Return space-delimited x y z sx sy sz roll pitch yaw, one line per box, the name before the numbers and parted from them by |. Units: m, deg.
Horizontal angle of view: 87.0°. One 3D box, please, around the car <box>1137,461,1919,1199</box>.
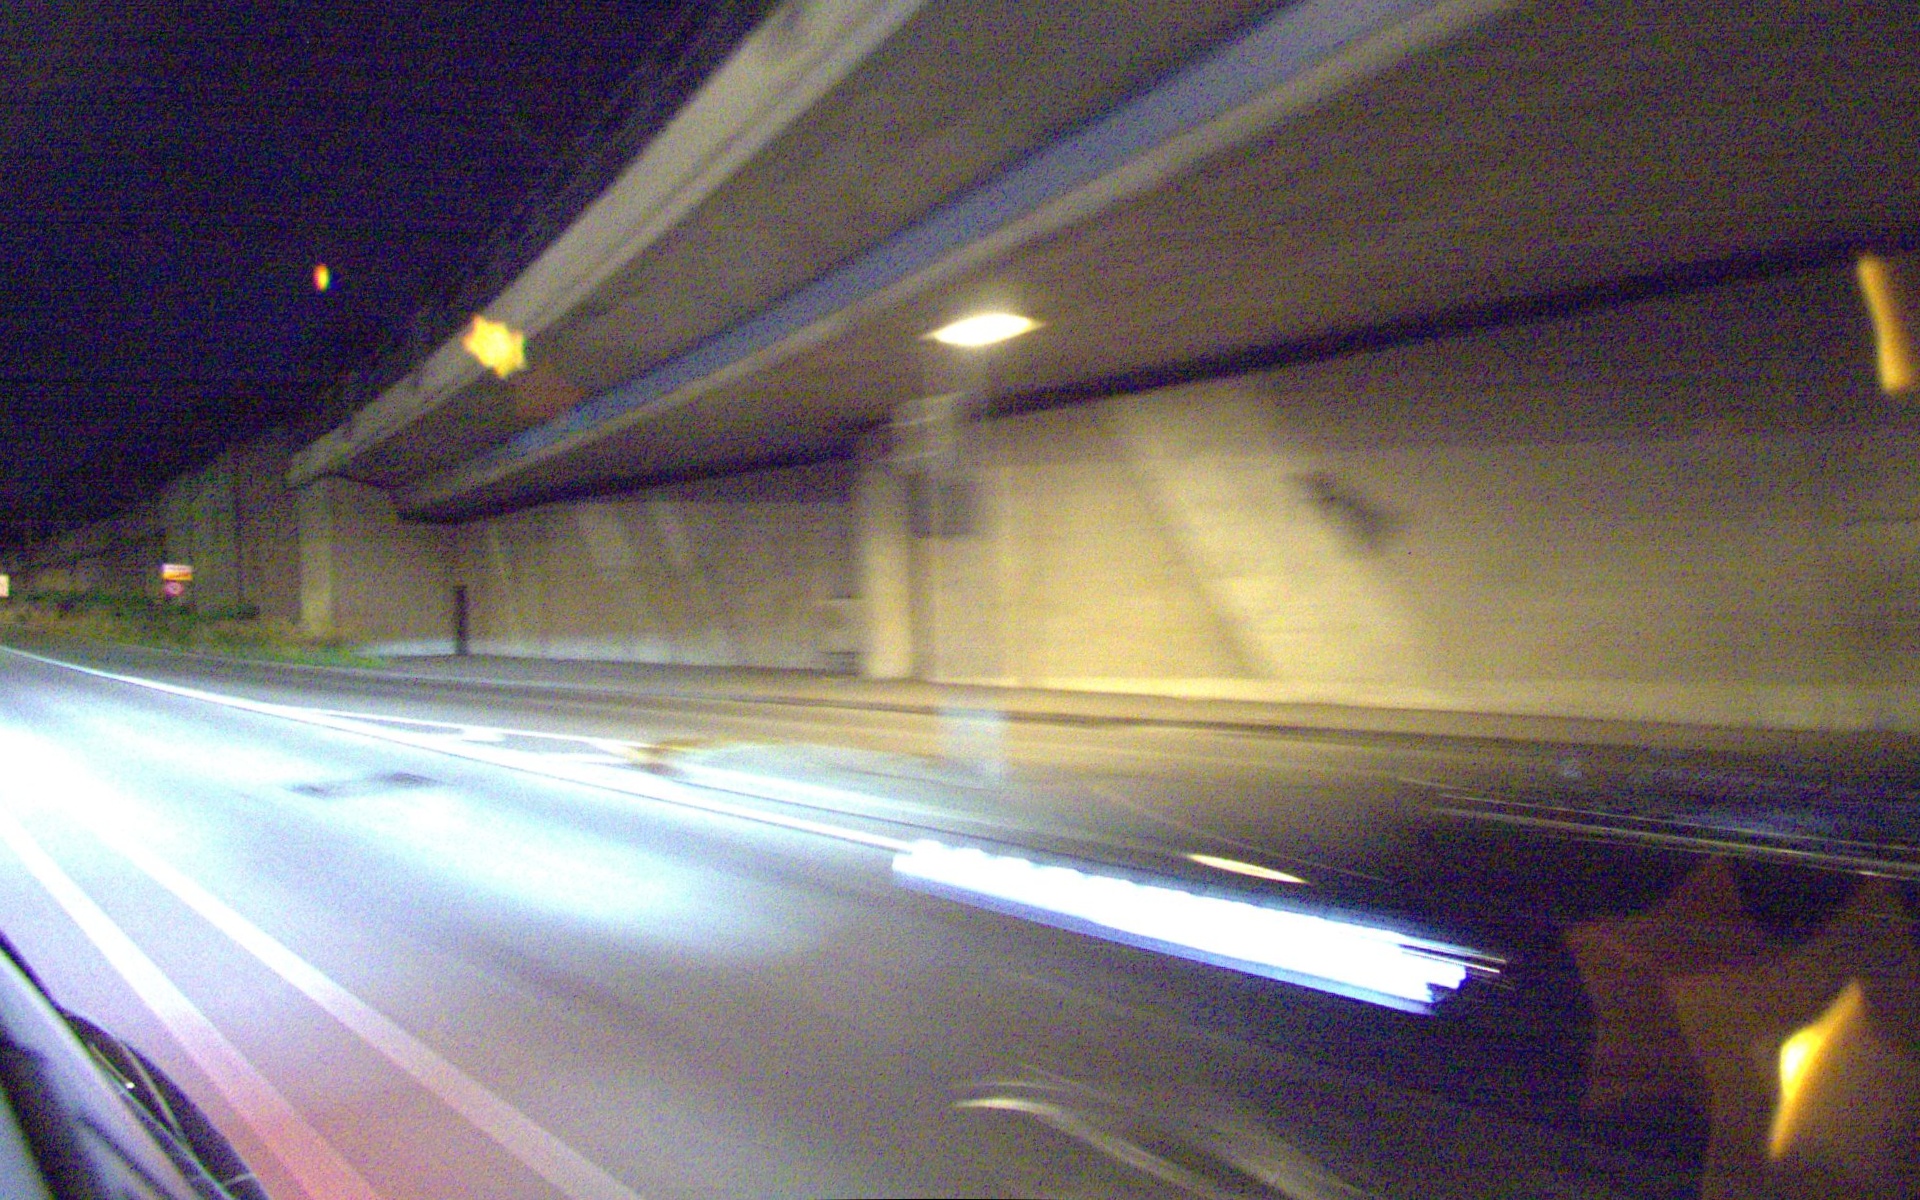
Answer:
car | 2.568 0.607 1.458 4.214 1.566 1.863 0 0 40
